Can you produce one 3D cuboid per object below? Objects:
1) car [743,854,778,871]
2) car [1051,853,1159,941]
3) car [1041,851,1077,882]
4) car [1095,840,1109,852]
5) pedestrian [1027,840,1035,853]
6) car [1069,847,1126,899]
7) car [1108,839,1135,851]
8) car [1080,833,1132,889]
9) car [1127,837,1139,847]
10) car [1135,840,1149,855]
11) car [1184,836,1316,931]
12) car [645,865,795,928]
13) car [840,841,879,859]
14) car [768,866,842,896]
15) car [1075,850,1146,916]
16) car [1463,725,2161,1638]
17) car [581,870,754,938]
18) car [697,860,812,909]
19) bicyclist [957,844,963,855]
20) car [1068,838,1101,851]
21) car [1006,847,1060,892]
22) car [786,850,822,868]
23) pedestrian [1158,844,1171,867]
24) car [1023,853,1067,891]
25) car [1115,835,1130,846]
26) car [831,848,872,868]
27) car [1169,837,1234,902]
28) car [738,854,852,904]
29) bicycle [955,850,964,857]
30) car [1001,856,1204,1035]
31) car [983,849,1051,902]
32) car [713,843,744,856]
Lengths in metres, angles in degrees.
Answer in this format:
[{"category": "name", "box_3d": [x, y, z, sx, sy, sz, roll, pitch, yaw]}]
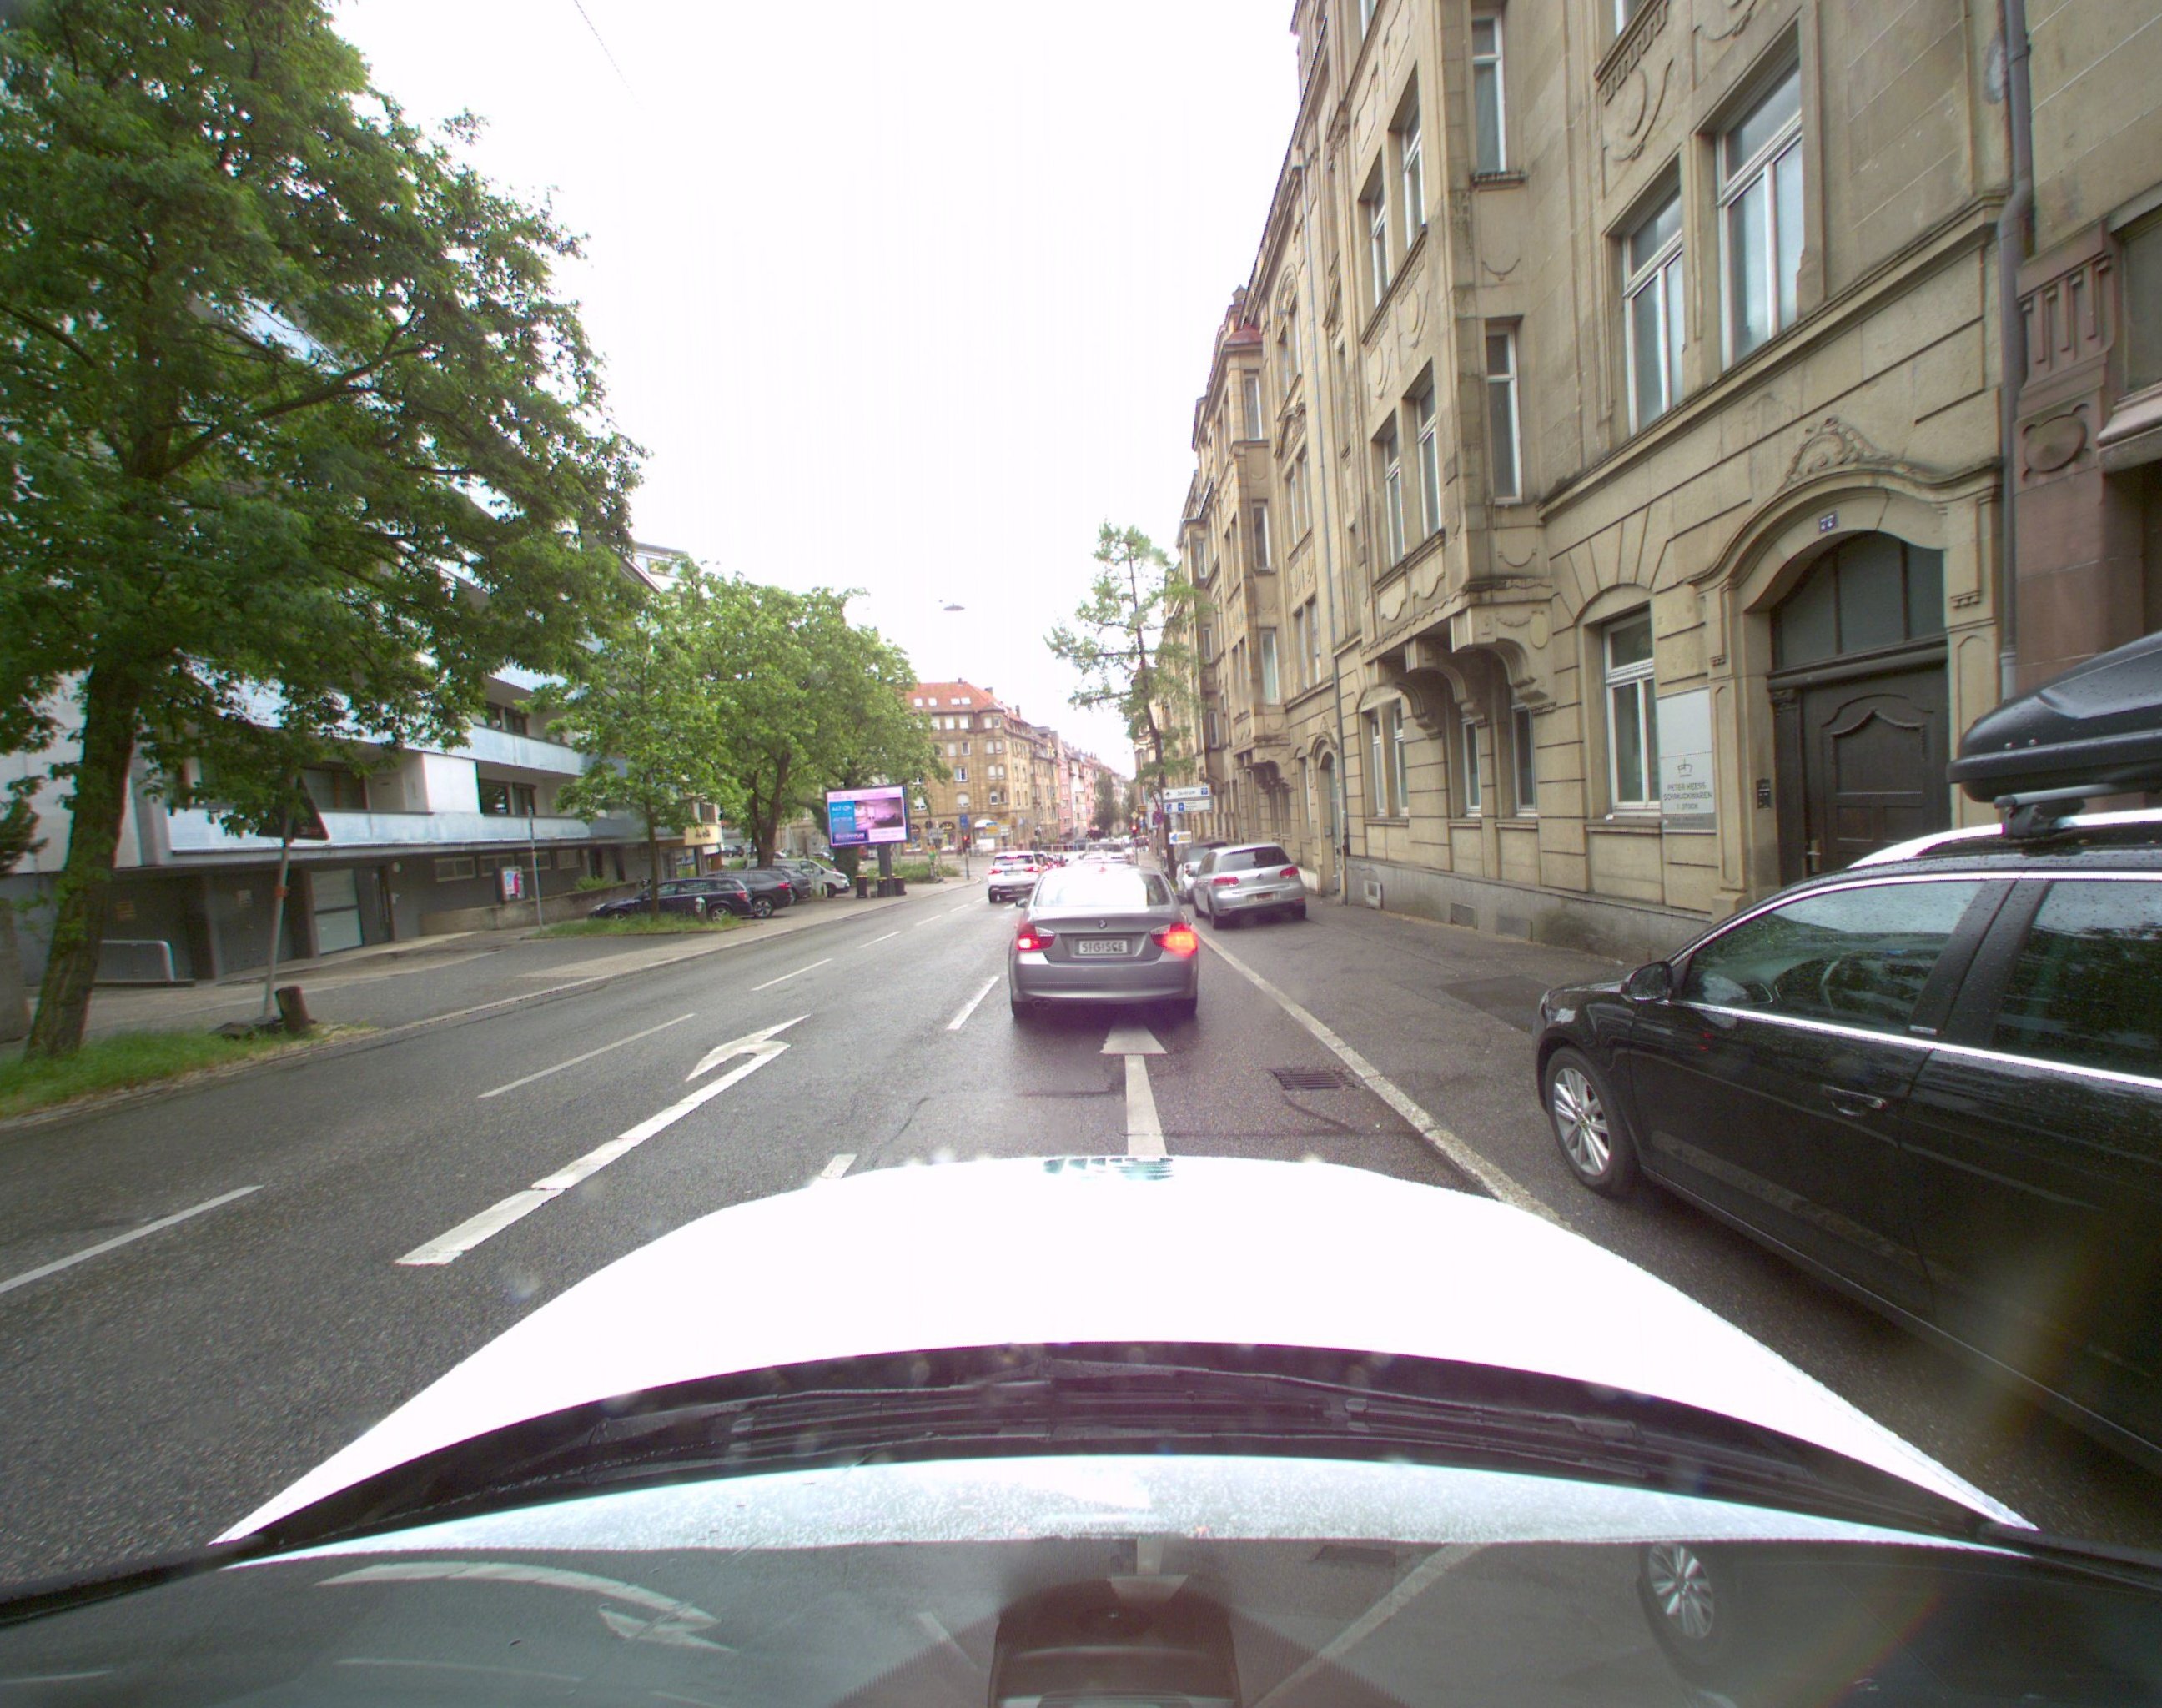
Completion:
[{"category": "car", "box_3d": [-41.667, 1.038, 105.808, 4.238, 2.101, 2.013, 0, 2, 30]}, {"category": "car", "box_3d": [0.499, 0.710, 15.501, 1.752, 1.383, 4.003, -2, 0, 3]}, {"category": "car", "box_3d": [-1.245, 0.704, 48.047, 1.752, 1.707, 4.003, -2, 0, 3]}, {"category": "car", "box_3d": [2.691, -0.990, 104.941, 1.709, 1.450, 3.743, -3, 0, 1]}, {"category": "pedestrian", "box_3d": [-6.260, -0.935, 101.650, 0.727, 1.577, 0.530, -3, 0, 10]}, {"category": "car", "box_3d": [0.625, 0.574, 27.468, 1.752, 1.567, 4.003, -2, 0, 3]}, {"category": "car", "box_3d": [5.722, -1.200, 114.174, 1.974, 1.578, 4.025, -1, -1, 34]}, {"category": "car", "box_3d": [1.028, 0.272, 33.608, 1.986, 2.106, 4.002, -2, 0, 2]}, {"category": "car", "box_3d": [6.759, -1.572, 106.471, 1.429, 1.174, 3.435, 0, 0, 1]}, {"category": "car", "box_3d": [8.657, -0.924, 115.627, 1.679, 2.013, 4.002, -4, 0, 2]}, {"category": "car", "box_3d": [3.214, 0.508, 16.300, 1.753, 1.451, 4.001, -7, 0, 1]}, {"category": "car", "box_3d": [-11.965, 1.369, 27.303, 4.382, 1.672, 1.842, -4, 0, -21]}, {"category": "car", "box_3d": [-26.542, -0.498, 97.430, 4.238, 2.101, 2.013, 0, 2, 30]}, {"category": "car", "box_3d": [-16.025, 1.550, 47.391, 3.985, 1.450, 1.758, -3, 0, -19]}, {"category": "car", "box_3d": [0.787, 0.657, 20.892, 1.588, 1.464, 4.003, -2, 0, 3]}, {"category": "car", "box_3d": [2.782, 0.511, 1.976, 1.753, 1.651, 4.101, -7, 0, 2]}, {"category": "car", "box_3d": [-12.285, 1.435, 24.548, 4.373, 1.574, 1.930, -4, 0, -21]}, {"category": "car", "box_3d": [-13.846, 1.275, 34.772, 4.370, 1.784, 1.927, -3, 0, -19]}, {"category": "bicyclist", "box_3d": [-14.408, -0.494, 97.012, 0.565, 1.273, 0.692, -1, -1, 13]}, {"category": "car", "box_3d": [0.635, -1.517, 130.274, 5.158, 2.014, 2.699, 0, -1, 1]}, {"category": "car", "box_3d": [-1.937, 0.581, 33.890, 1.752, 1.707, 4.003, -2, 0, 3]}, {"category": "car", "box_3d": [-35.194, 0.637, 103.425, 4.238, 2.101, 2.013, 0, 2, 30]}, {"category": "pedestrian", "box_3d": [5.629, 0.112, 54.918, 0.629, 1.508, 0.693, -7, 0, 1]}, {"category": "car", "box_3d": [-1.759, 0.869, 40.706, 1.752, 1.707, 4.003, -2, 0, 3]}, {"category": "car", "box_3d": [6.184, -1.996, 120.805, 1.983, 1.578, 4.008, 0, -1, 7]}, {"category": "car", "box_3d": [-25.824, 0.440, 91.790, 3.982, 2.013, 1.996, -4, 0, -6]}, {"category": "car", "box_3d": [3.318, 0.409, 22.787, 1.295, 1.543, 2.881, -7, 0, 1]}, {"category": "car", "box_3d": [-13.967, 1.171, 39.990, 5.076, 2.105, 1.979, -3, 0, -19]}, {"category": "bicycle", "box_3d": [-14.470, -0.028, 96.687, 0.570, 0.858, 1.526, -1, -1, 11]}, {"category": "car", "box_3d": [0.268, 0.759, 8.492, 1.617, 1.383, 3.618, -2, 0, 3]}, {"category": "car", "box_3d": [-2.130, 0.691, 27.976, 1.861, 1.625, 4.001, -2, 0, 1]}, {"category": "car", "box_3d": [-47.198, -0.565, 108.998, 3.949, 1.689, 1.738, -1, -1, 29]}]
